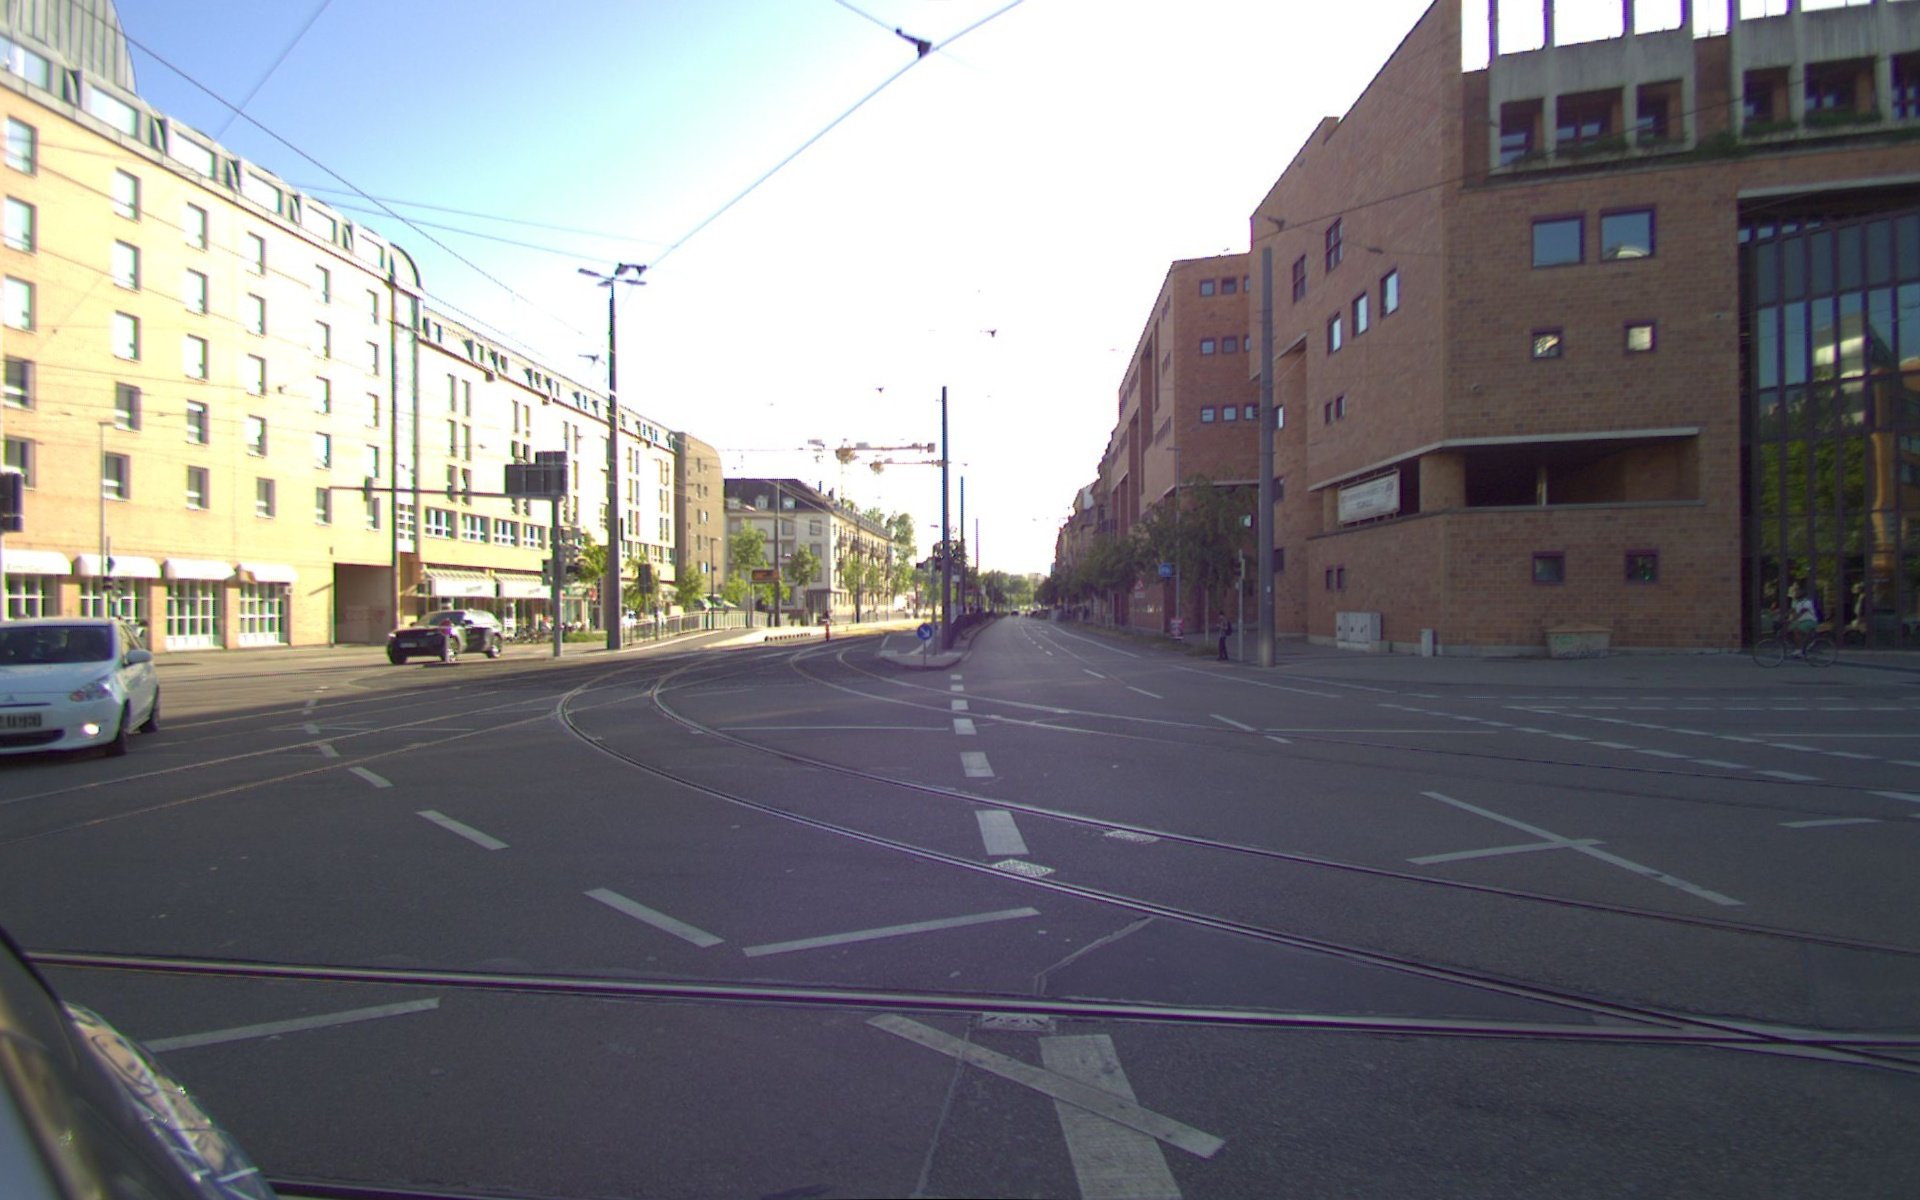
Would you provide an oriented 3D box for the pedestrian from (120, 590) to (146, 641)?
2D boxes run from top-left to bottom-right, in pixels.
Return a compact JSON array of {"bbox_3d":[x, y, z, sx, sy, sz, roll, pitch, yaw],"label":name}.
[{"bbox_3d":[-28.951,0.539,35.422,0.404,1.788,0.572,0,-1,36],"label":"pedestrian"}]

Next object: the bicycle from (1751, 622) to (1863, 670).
[{"bbox_3d":[20.131,1.088,24.093,1.906,1.088,0.612,-1,-1,21],"label":"bicycle"}]

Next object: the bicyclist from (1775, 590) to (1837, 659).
[{"bbox_3d":[20.144,0.576,24.117,0.921,1.602,0.681,-1,-1,21],"label":"bicyclist"}]

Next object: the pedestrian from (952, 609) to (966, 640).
[{"bbox_3d":[-0.051,1.218,51.159,0.692,1.546,0.654,-1,-1,1],"label":"pedestrian"}]

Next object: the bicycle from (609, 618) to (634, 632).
[{"bbox_3d":[-27.925,2.074,83.602,0.602,1.058,1.856,3,-1,40],"label":"bicycle"}]

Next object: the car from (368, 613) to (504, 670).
[{"bbox_3d":[-16.799,1.285,32.725,1.931,1.674,4.350,-2,-1,4],"label":"car"}]

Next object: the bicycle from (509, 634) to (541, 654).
[{"bbox_3d":[-26.498,2.668,61.717,1.754,1.150,0.552,1,0,7],"label":"bicycle"}]

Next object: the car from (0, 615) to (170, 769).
[{"bbox_3d":[-10.328,0.946,11.543,1.613,1.478,4.198,0,-2,-32],"label":"car"}]

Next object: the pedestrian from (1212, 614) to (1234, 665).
[{"bbox_3d":[8.527,1.269,32.816,0.502,1.629,0.506,-2,-1,-6],"label":"pedestrian"}]

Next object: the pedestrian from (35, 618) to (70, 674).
[{"bbox_3d":[-29.157,1.481,32.533,0.683,1.781,0.575,0,-2,-23],"label":"pedestrian"}]

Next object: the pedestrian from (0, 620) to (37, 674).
[{"bbox_3d":[-30.204,1.499,32.462,0.555,1.716,0.659,-2,-1,0],"label":"pedestrian"}]

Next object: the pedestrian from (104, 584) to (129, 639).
[{"bbox_3d":[-28.665,0.388,34.401,0.489,1.847,0.735,2,-1,-31],"label":"pedestrian"}]

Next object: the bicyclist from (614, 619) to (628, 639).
[{"bbox_3d":[-27.978,2.402,83.551,0.580,1.526,0.838,2,-3,40],"label":"bicyclist"}]

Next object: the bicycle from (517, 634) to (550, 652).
[{"bbox_3d":[-26.458,2.684,62.842,1.754,1.079,0.735,1,0,7],"label":"bicycle"}]
